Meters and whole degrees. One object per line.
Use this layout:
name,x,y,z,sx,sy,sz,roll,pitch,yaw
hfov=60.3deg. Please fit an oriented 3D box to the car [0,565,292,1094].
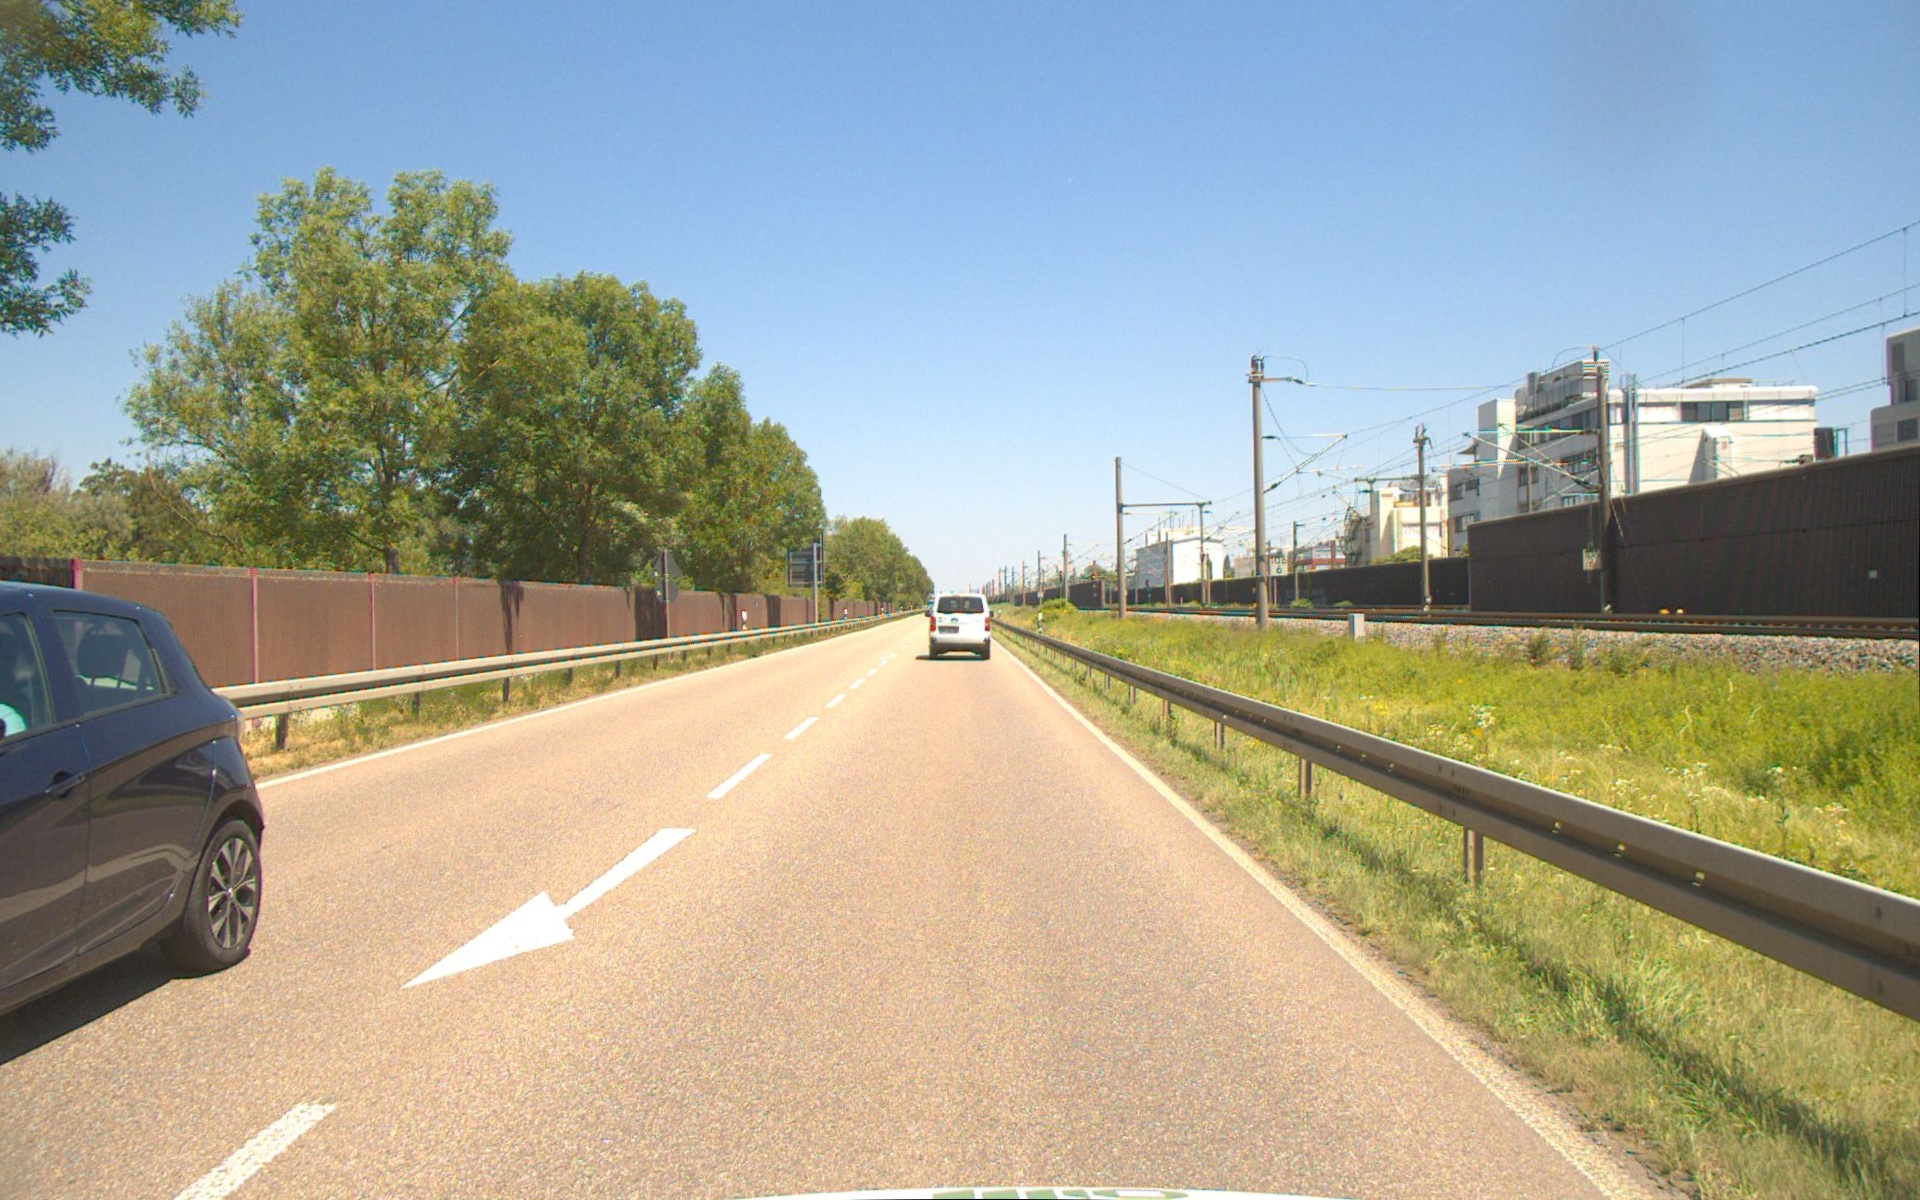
car,-3.709,0.698,5.318,1.589,1.605,3.763,0,0,0

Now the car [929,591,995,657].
car,0.040,0.726,50.310,1.906,1.914,4.880,0,-1,0
